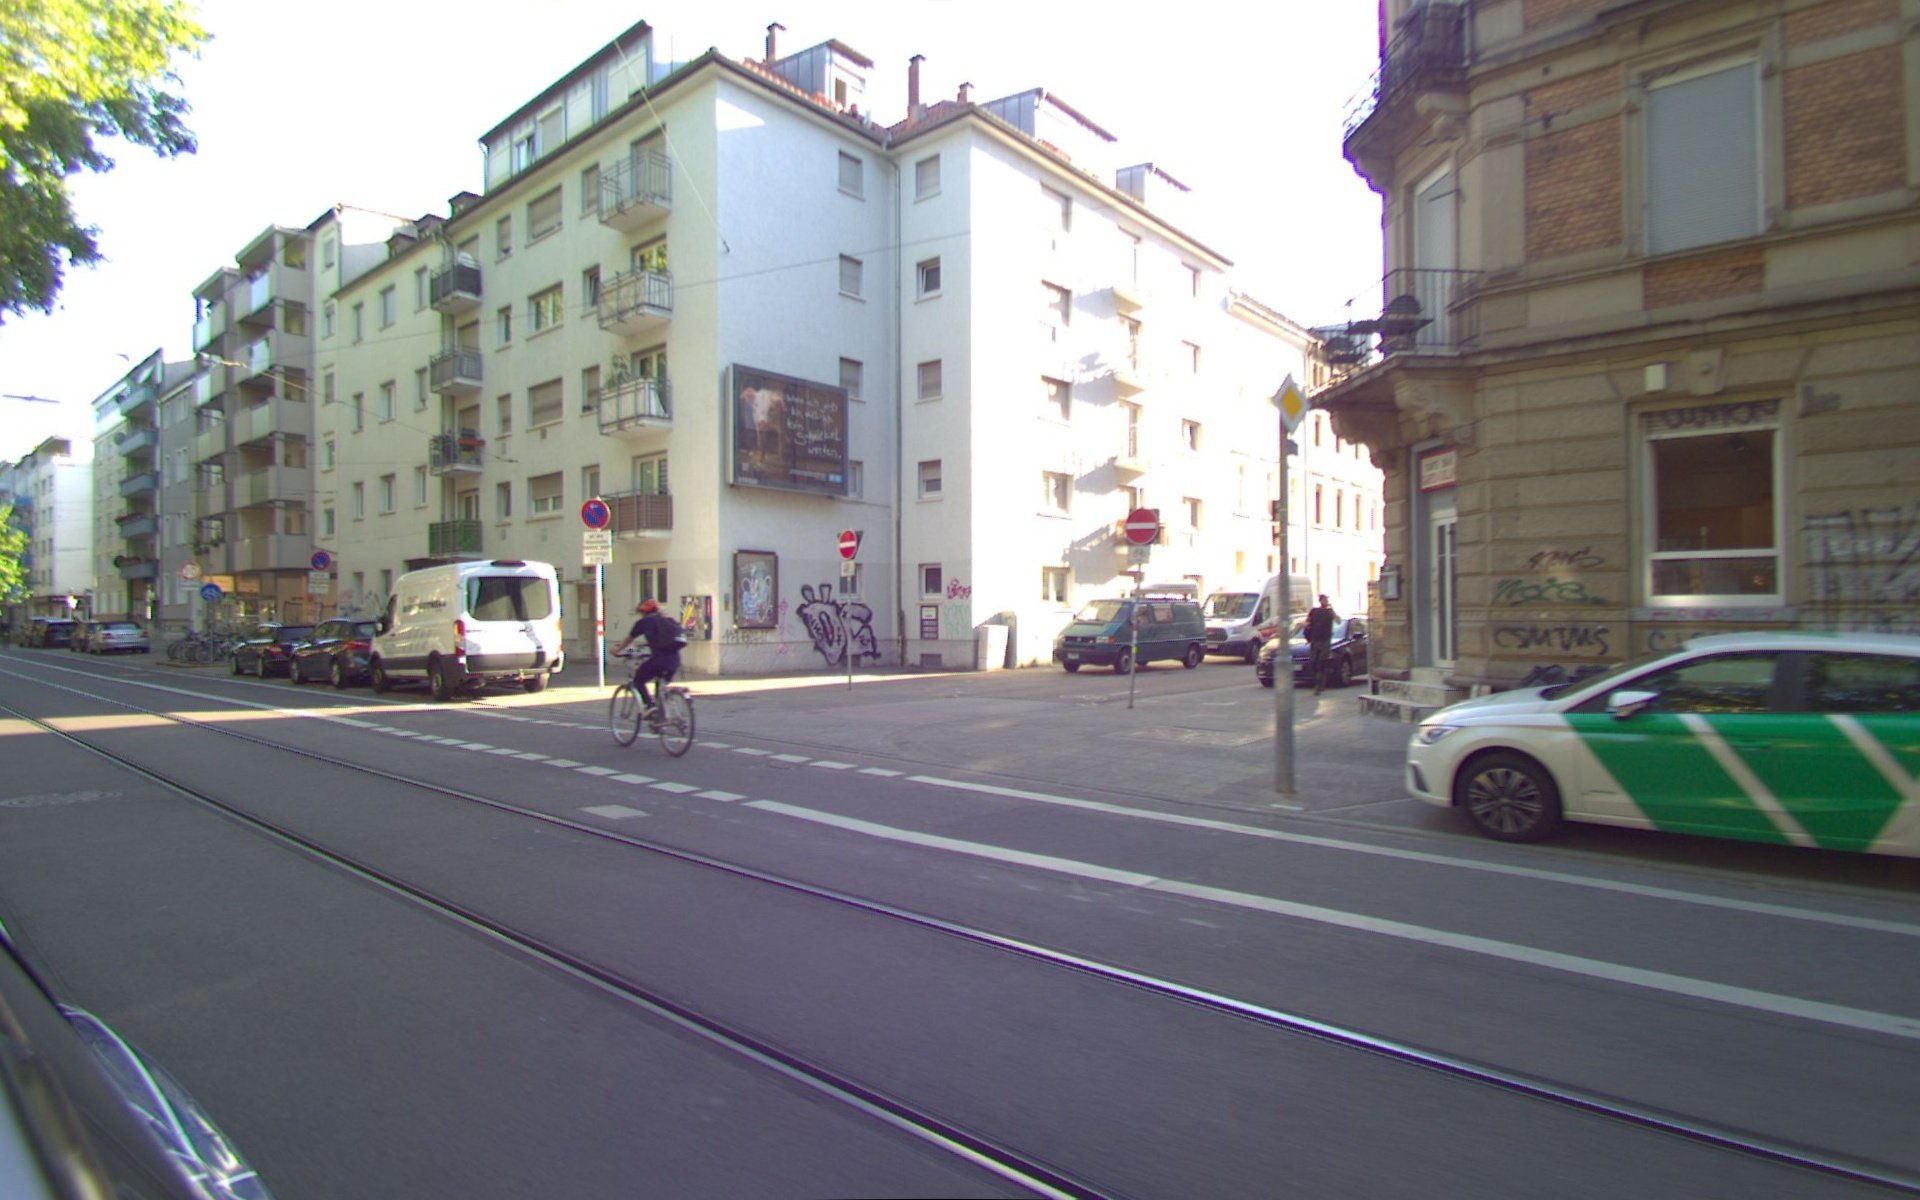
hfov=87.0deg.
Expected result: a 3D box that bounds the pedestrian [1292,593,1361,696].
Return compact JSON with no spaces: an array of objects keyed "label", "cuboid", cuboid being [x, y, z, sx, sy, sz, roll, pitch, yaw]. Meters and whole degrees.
[{"label":"pedestrian","cuboid":[6.494,0.774,17.951,0.894,1.762,0.649,-3,-2,45]}]

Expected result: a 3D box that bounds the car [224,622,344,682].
[{"label":"car","cuboid":[-18.413,1.355,27.483,4.572,1.467,1.699,-1,-1,43]}]

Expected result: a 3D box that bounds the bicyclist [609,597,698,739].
[{"label":"bicyclist","cuboid":[-3.362,0.723,11.105,0.806,1.493,0.576,-1,-2,41]}]

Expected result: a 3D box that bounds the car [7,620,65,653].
[{"label":"car","cuboid":[-52.324,2.028,57.286,4.485,1.751,1.762,-1,0,39]}]

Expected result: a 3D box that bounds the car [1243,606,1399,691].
[{"label":"car","cuboid":[7.400,0.960,20.663,3.133,1.597,1.722,1,-3,-44]}]

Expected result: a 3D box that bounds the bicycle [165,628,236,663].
[{"label":"bicycle","cuboid":[-26.636,1.589,35.502,1.937,1.127,0.440,-1,0,-42]}]

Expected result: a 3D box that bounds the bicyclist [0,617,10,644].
[{"label":"bicyclist","cuboid":[-50.190,1.581,52.996,0.709,1.405,0.503,-1,-3,41]}]

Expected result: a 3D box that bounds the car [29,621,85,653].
[{"label":"car","cuboid":[-48.403,1.949,54.213,4.199,1.612,1.639,-1,0,40]}]

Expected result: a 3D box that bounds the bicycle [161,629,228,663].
[{"label":"bicycle","cuboid":[-27.460,1.638,36.336,1.871,1.127,0.402,-1,0,-42]}]

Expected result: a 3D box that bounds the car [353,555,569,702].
[{"label":"car","cuboid":[-10.170,0.541,20.366,5.667,2.555,2.042,-1,-1,43]}]

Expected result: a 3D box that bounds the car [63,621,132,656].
[{"label":"car","cuboid":[-40.145,1.757,47.087,4.237,1.502,1.775,-1,-1,40]}]

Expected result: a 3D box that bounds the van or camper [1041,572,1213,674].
[{"label":"van or camper","cuboid":[4.455,0.577,26.438,2.021,2.405,5.047,-1,-2,43]}]

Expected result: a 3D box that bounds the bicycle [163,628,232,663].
[{"label":"bicycle","cuboid":[-27.025,1.596,35.875,1.908,1.127,0.440,-1,0,-42]}]

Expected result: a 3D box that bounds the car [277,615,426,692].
[{"label":"car","cuboid":[-14.334,1.177,23.753,4.343,1.644,1.701,-1,-1,40]}]

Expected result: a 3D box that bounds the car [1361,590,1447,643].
[{"label":"car","cuboid":[19.292,0.700,43.880,2.130,2.176,4.257,-2,-2,42]}]

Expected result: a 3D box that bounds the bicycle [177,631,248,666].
[{"label":"bicycle","cuboid":[-24.900,1.602,33.748,1.871,1.045,0.402,-1,0,-42]}]

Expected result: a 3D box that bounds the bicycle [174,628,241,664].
[{"label":"bicycle","cuboid":[-25.780,1.575,34.699,1.797,1.127,0.425,-1,0,-42]}]

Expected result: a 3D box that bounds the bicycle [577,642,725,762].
[{"label":"bicycle","cuboid":[-3.434,1.063,11.121,2.231,1.159,0.416,0,-2,41]}]

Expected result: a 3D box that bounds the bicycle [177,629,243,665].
[{"label":"bicycle","cuboid":[-25.434,1.570,34.334,1.767,1.127,0.425,-1,0,-42]}]

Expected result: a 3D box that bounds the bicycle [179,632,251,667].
[{"label":"bicycle","cuboid":[-24.509,1.623,33.332,1.871,1.045,0.402,-1,0,-42]}]

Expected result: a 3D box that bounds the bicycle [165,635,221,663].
[{"label":"bicycle","cuboid":[-27.856,1.771,36.773,0.400,0.924,1.610,-1,0,24]}]

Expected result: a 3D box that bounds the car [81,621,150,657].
[{"label":"car","cuboid":[-36.730,1.662,43.982,4.727,1.502,1.671,-1,-1,42]}]

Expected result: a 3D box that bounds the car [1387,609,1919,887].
[{"label":"car","cuboid":[5.255,0.841,6.829,4.042,1.503,1.723,-1,0,40]}]

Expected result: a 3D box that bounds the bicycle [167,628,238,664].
[{"label":"bicycle","cuboid":[-26.292,1.584,35.156,1.944,1.127,0.425,-1,0,-42]}]

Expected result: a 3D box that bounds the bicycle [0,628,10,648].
[{"label":"bicycle","cuboid":[-49.865,1.957,52.678,1.946,1.025,0.412,-1,-3,42]}]

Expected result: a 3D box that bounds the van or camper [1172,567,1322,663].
[{"label":"van or camper","cuboid":[8.969,0.488,31.255,2.156,2.690,5.930,-2,-2,40]}]
